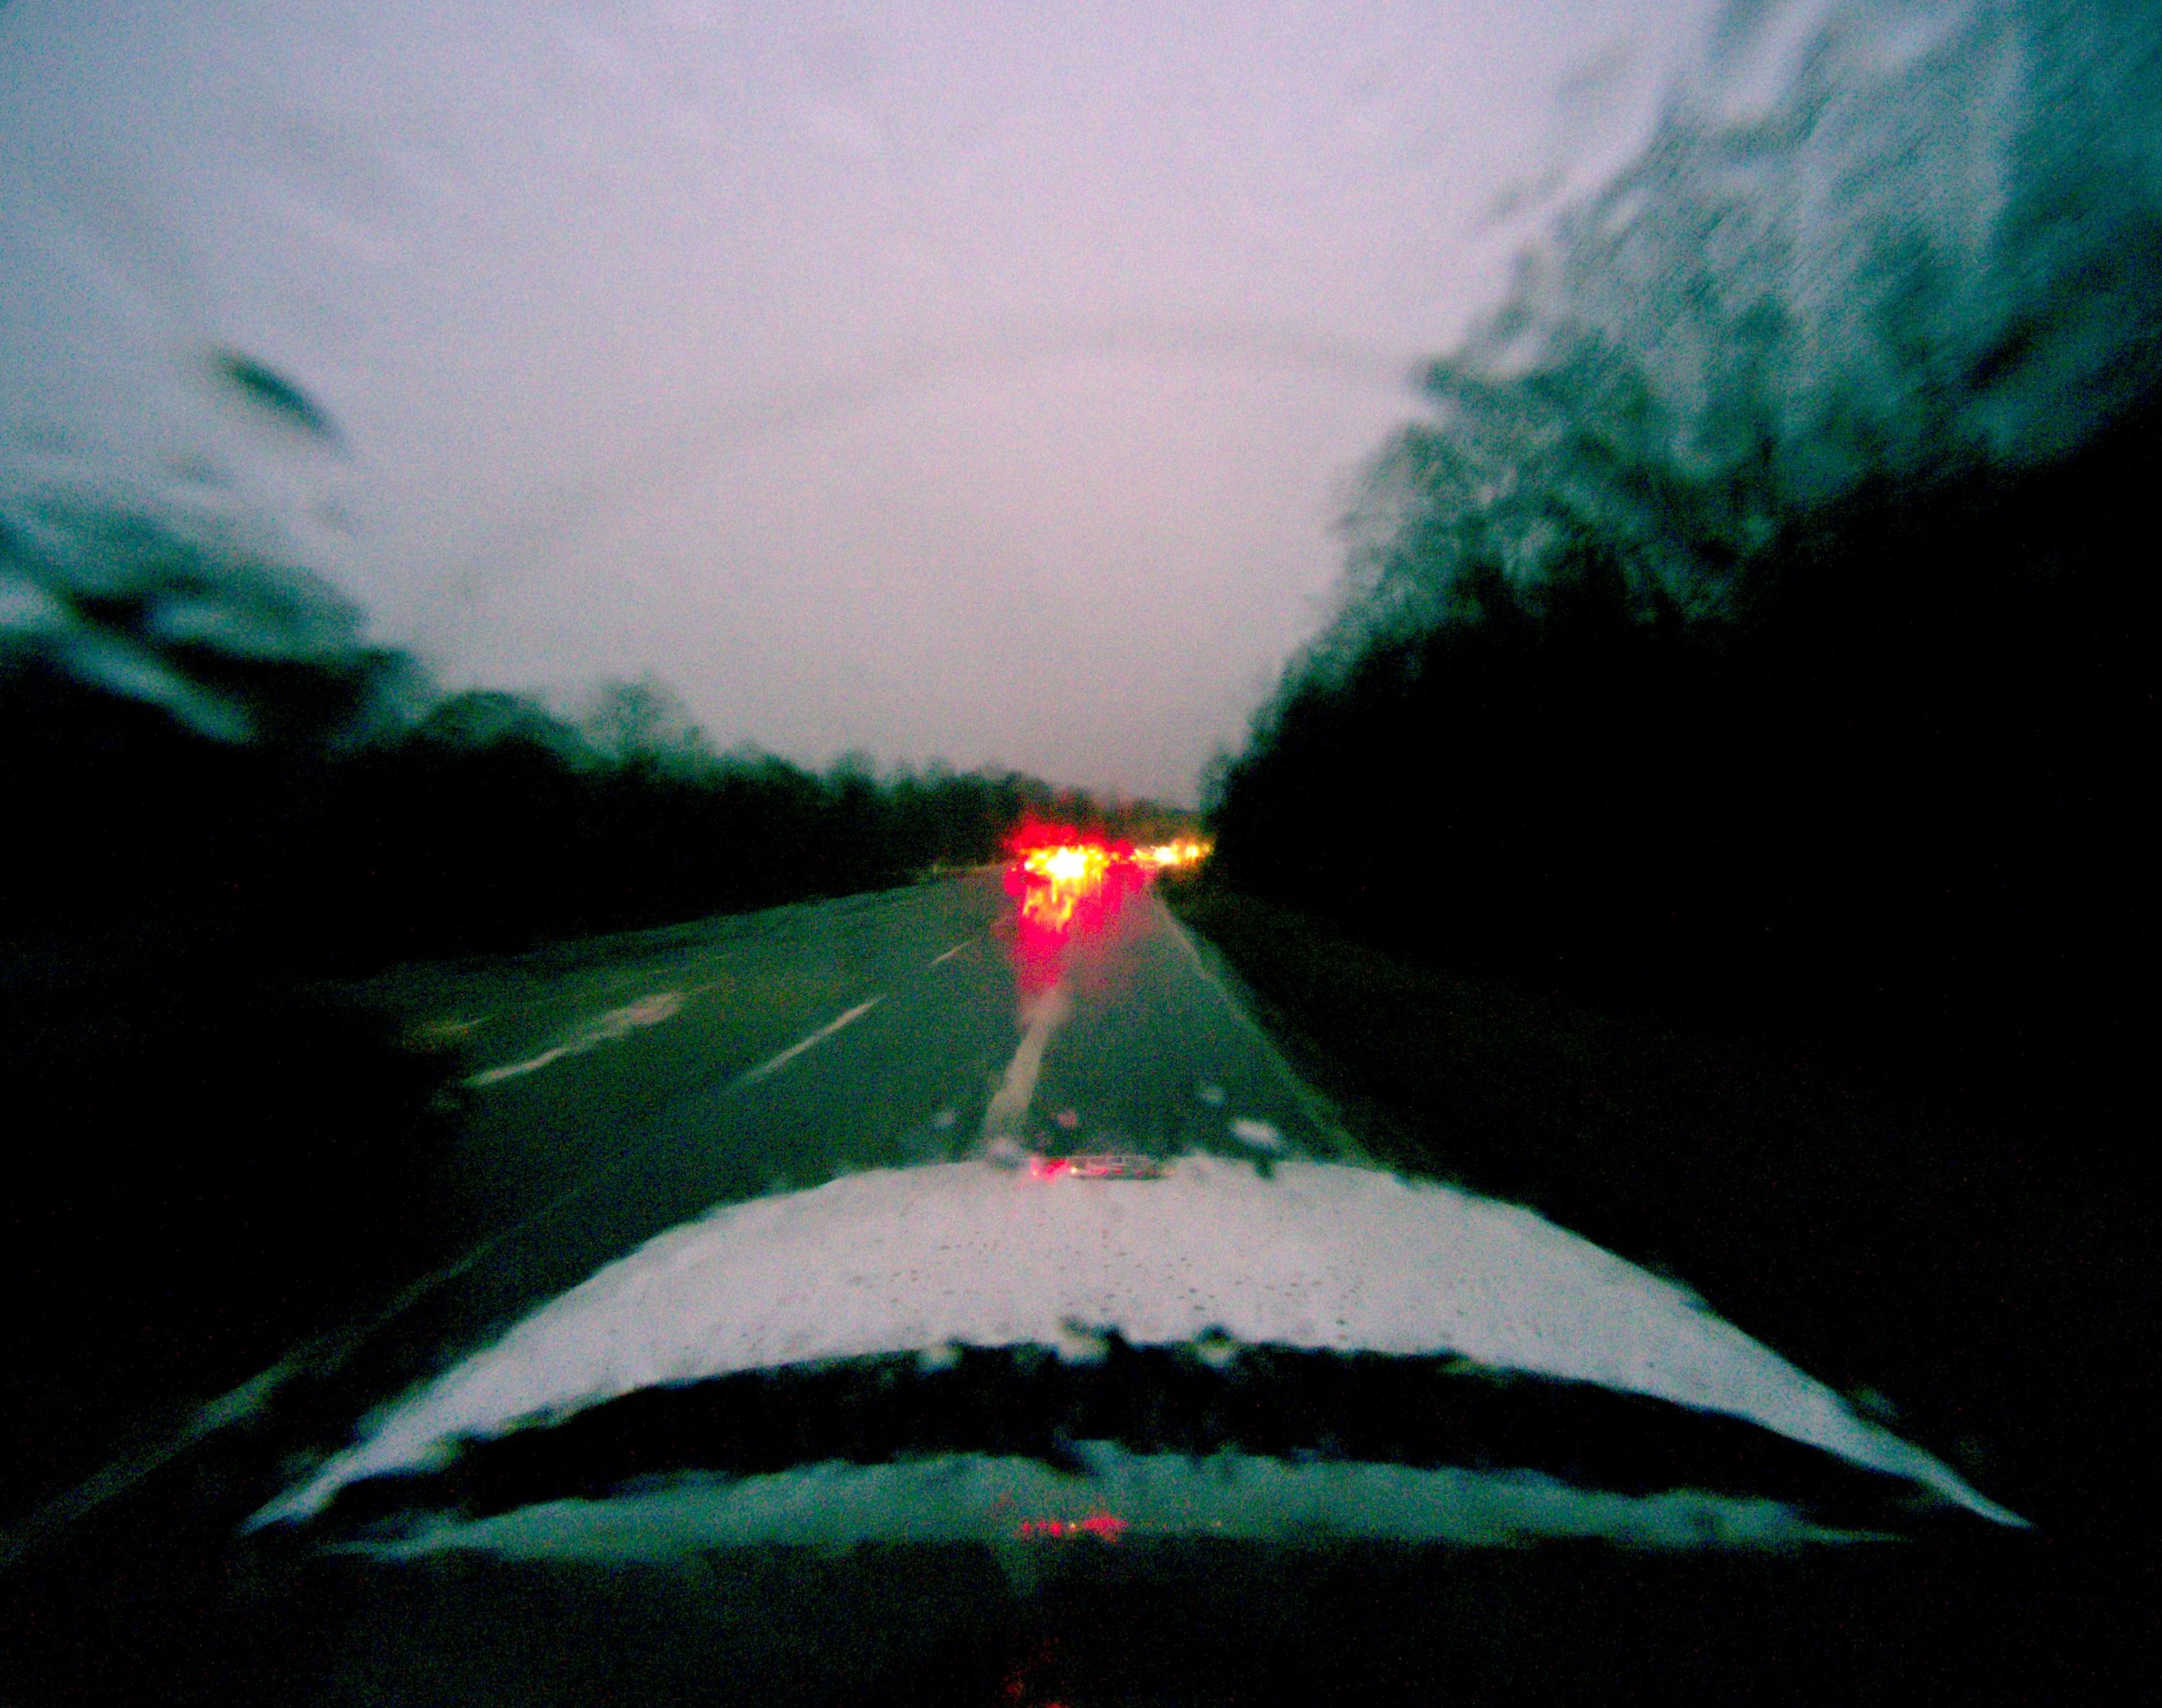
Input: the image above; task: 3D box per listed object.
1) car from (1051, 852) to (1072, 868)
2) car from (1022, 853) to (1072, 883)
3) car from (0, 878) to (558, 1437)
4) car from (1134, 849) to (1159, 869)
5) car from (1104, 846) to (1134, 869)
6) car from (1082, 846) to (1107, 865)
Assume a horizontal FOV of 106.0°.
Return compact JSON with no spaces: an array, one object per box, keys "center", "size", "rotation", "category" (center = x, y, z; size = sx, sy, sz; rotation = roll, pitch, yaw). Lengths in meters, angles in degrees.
[{"center":[-1.839,0.558,78.472],"size":[1.638,1.556,4.386],"rotation":[-1,0,4],"category":"car"},{"center":[-1.772,0.702,44.304],"size":[1.994,1.556,4.526],"rotation":[0,0,7],"category":"car"},{"center":[-3.689,0.838,2.364],"size":[1.627,1.421,4.170],"rotation":[0,0,0],"category":"car"},{"center":[6.006,0.403,74.069],"size":[1.667,1.675,4.112],"rotation":[-2,1,12],"category":"car"},{"center":[2.457,0.196,51.543],"size":[1.671,1.389,4.104],"rotation":[-2,1,5],"category":"car"},{"center":[1.220,0.144,71.914],"size":[1.703,1.627,4.227],"rotation":[-1,0,7],"category":"car"}]
